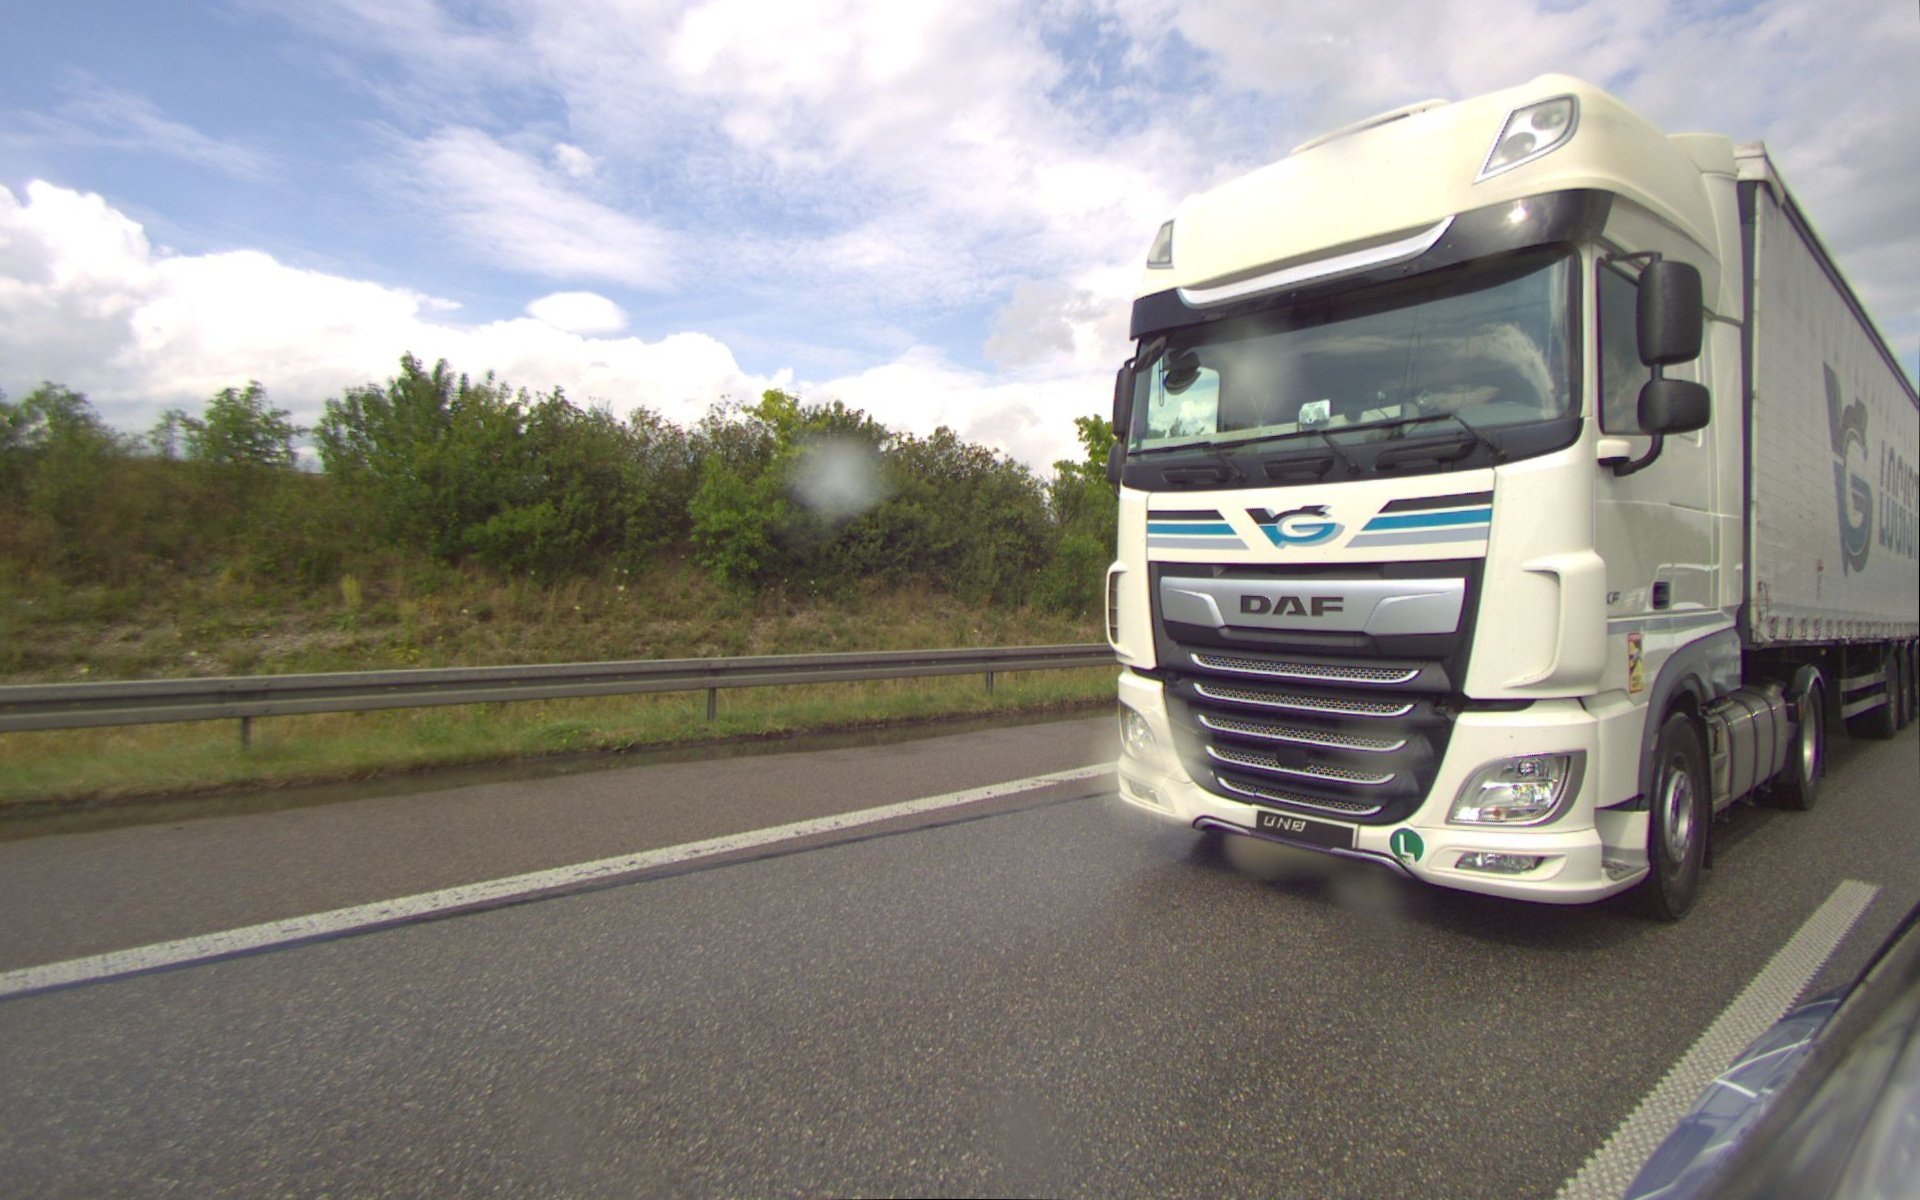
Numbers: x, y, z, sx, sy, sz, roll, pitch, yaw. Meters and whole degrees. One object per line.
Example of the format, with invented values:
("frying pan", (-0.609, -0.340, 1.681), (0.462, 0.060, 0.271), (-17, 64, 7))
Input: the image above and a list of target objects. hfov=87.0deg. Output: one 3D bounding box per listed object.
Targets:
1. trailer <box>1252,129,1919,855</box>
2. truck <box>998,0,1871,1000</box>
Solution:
("trailer", (8.521, -0.594, 11.405), (13.886, 3.948, 3.288), (0, 0, -42))
("truck", (3.641, -0.547, 6.973), (6.286, 3.940, 3.288), (0, 0, -42))
